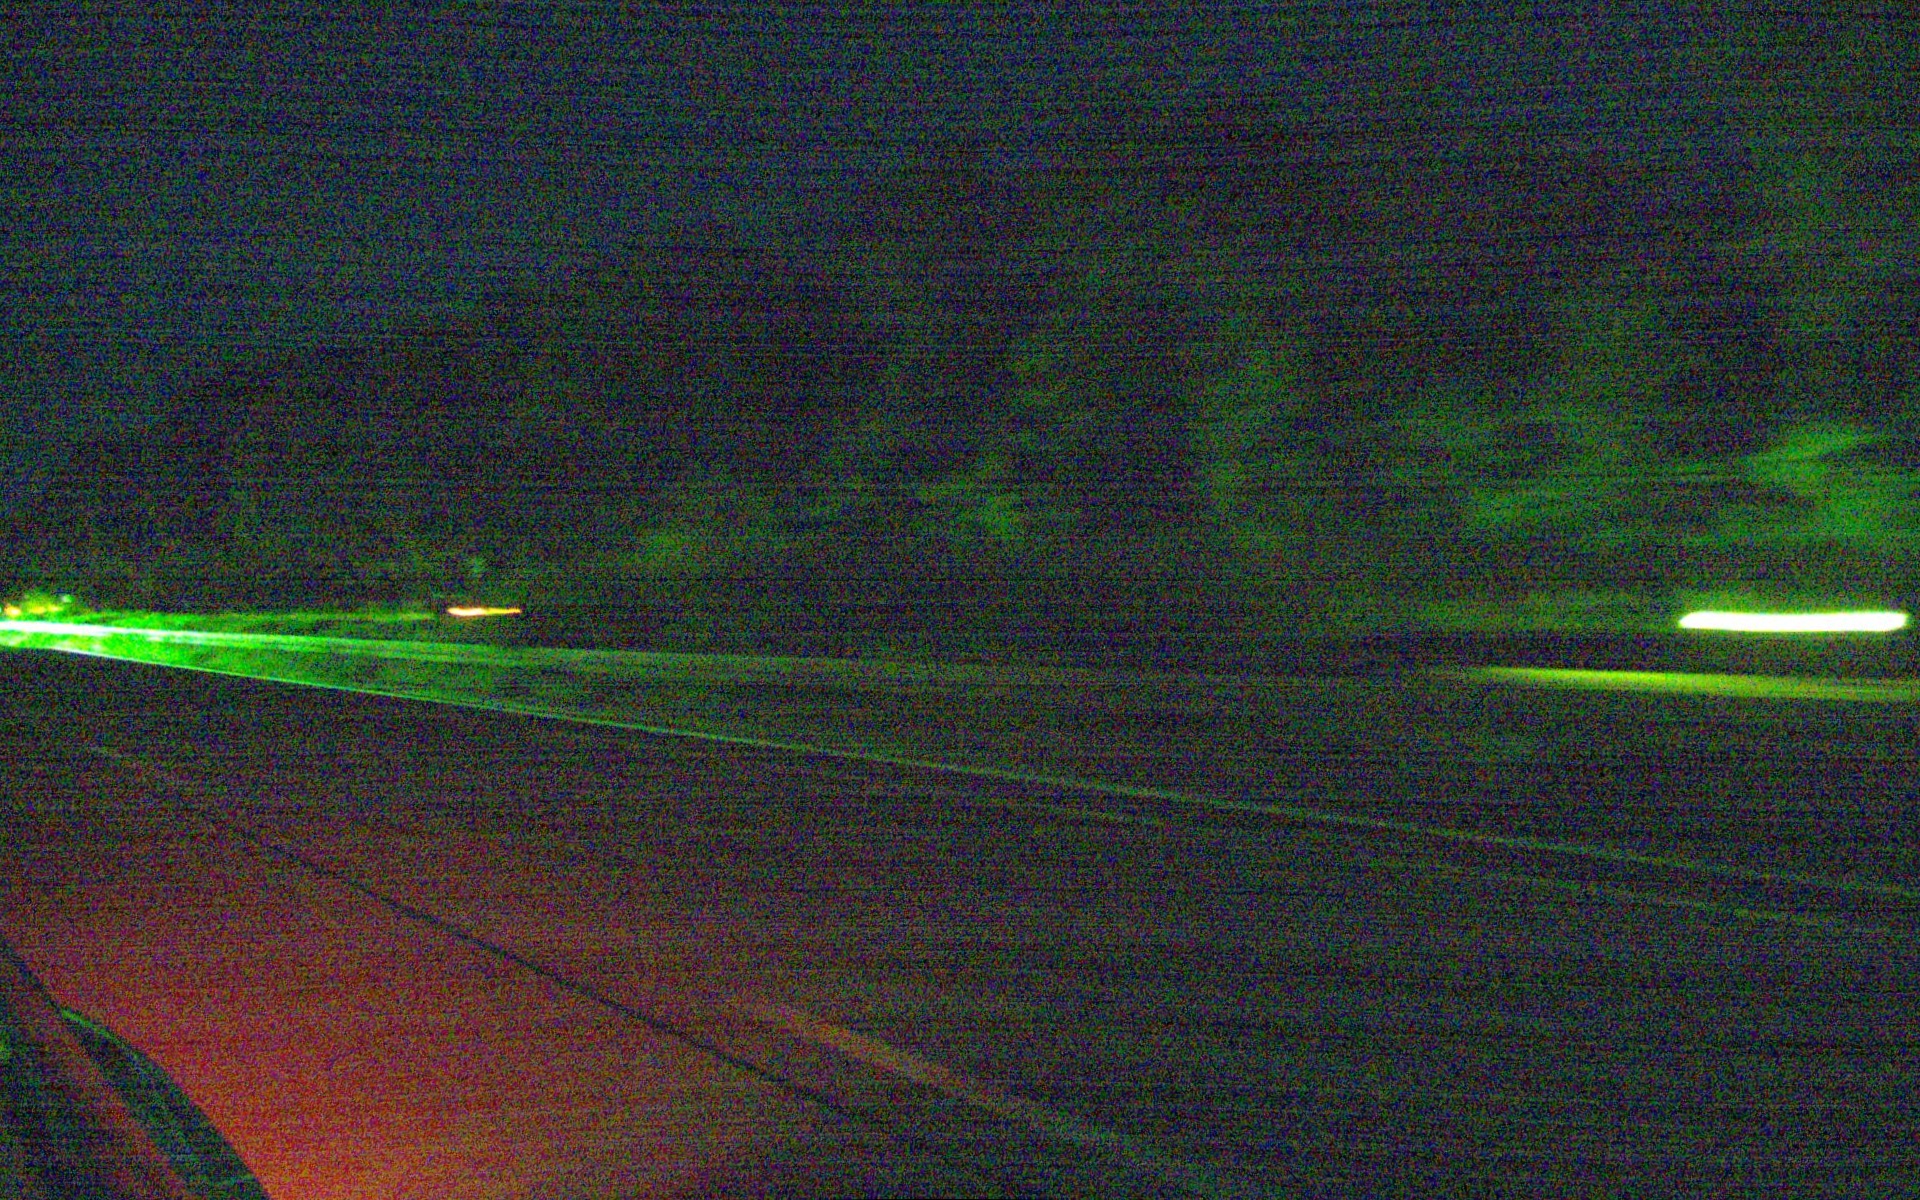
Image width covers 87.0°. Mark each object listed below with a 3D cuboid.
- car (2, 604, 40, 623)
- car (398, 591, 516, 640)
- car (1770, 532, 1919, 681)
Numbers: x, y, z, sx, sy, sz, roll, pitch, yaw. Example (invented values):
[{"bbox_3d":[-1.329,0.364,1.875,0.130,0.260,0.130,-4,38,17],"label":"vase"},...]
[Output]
[{"bbox_3d":[-80.256,1.167,86.480,4.334,1.468,1.938,-1,1,41],"label":"car"},{"bbox_3d":[-16.543,0.501,33.199,4.334,1.468,1.938,-1,1,41],"label":"car"},{"bbox_3d":[11.297,0.021,10.895,3.996,1.526,1.843,-1,4,39],"label":"car"}]
